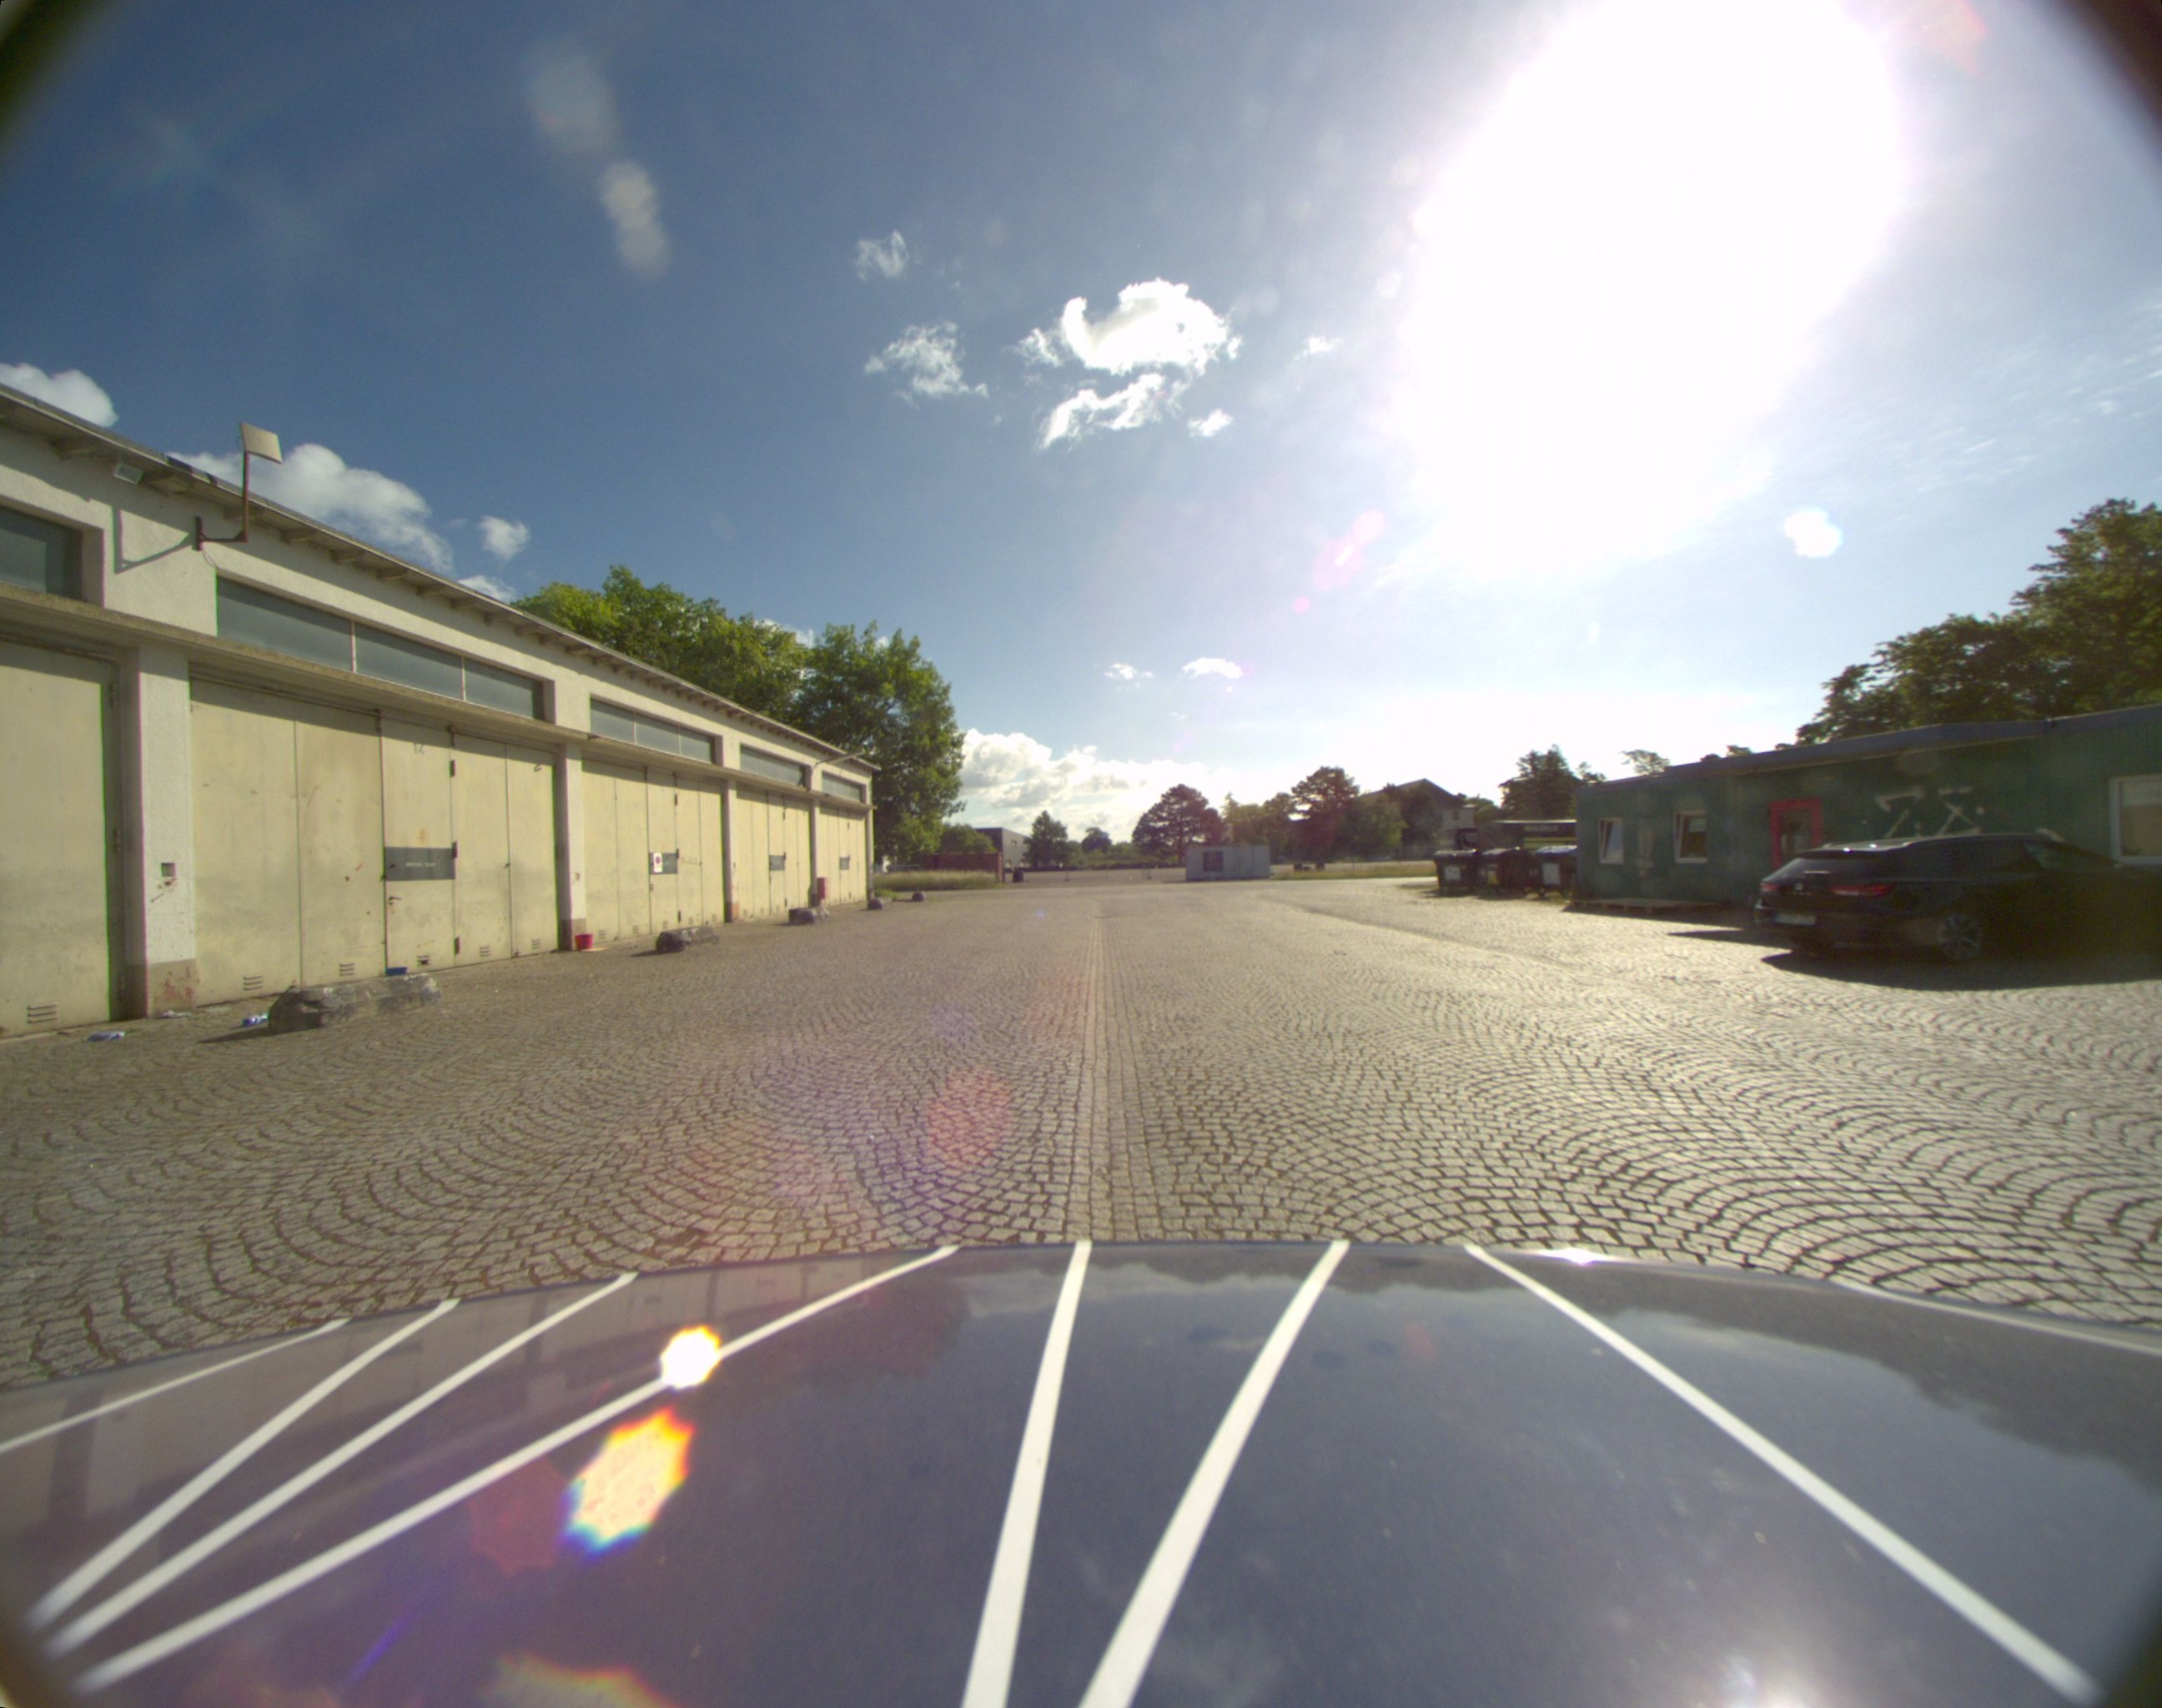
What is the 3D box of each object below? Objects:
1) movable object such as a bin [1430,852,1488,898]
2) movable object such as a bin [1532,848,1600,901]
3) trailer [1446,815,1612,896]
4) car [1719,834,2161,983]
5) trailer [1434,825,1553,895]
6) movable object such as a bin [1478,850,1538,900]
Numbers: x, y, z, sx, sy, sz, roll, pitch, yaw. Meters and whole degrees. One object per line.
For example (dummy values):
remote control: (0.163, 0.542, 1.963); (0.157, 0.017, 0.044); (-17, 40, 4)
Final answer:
movable object such as a bin: (12.790, 0.712, 25.718); (1.435, 1.449, 1.158); (-2, 1, 44)
movable object such as a bin: (13.951, 0.579, 21.901); (0.885, 1.449, 1.439); (-3, 1, -9)
trailer: (15.705, 0.048, 26.805); (4.649, 2.553, 1.951); (-3, 1, -3)
car: (10.774, 0.587, 9.320); (4.262, 1.441, 1.931); (-3, 0, -1)
trailer: (15.794, 0.232, 29.257); (3.393, 2.455, 2.044); (-3, 1, 2)
movable object such as a bin: (13.236, 0.624, 23.596); (1.020, 1.449, 1.440); (-3, 1, 1)
